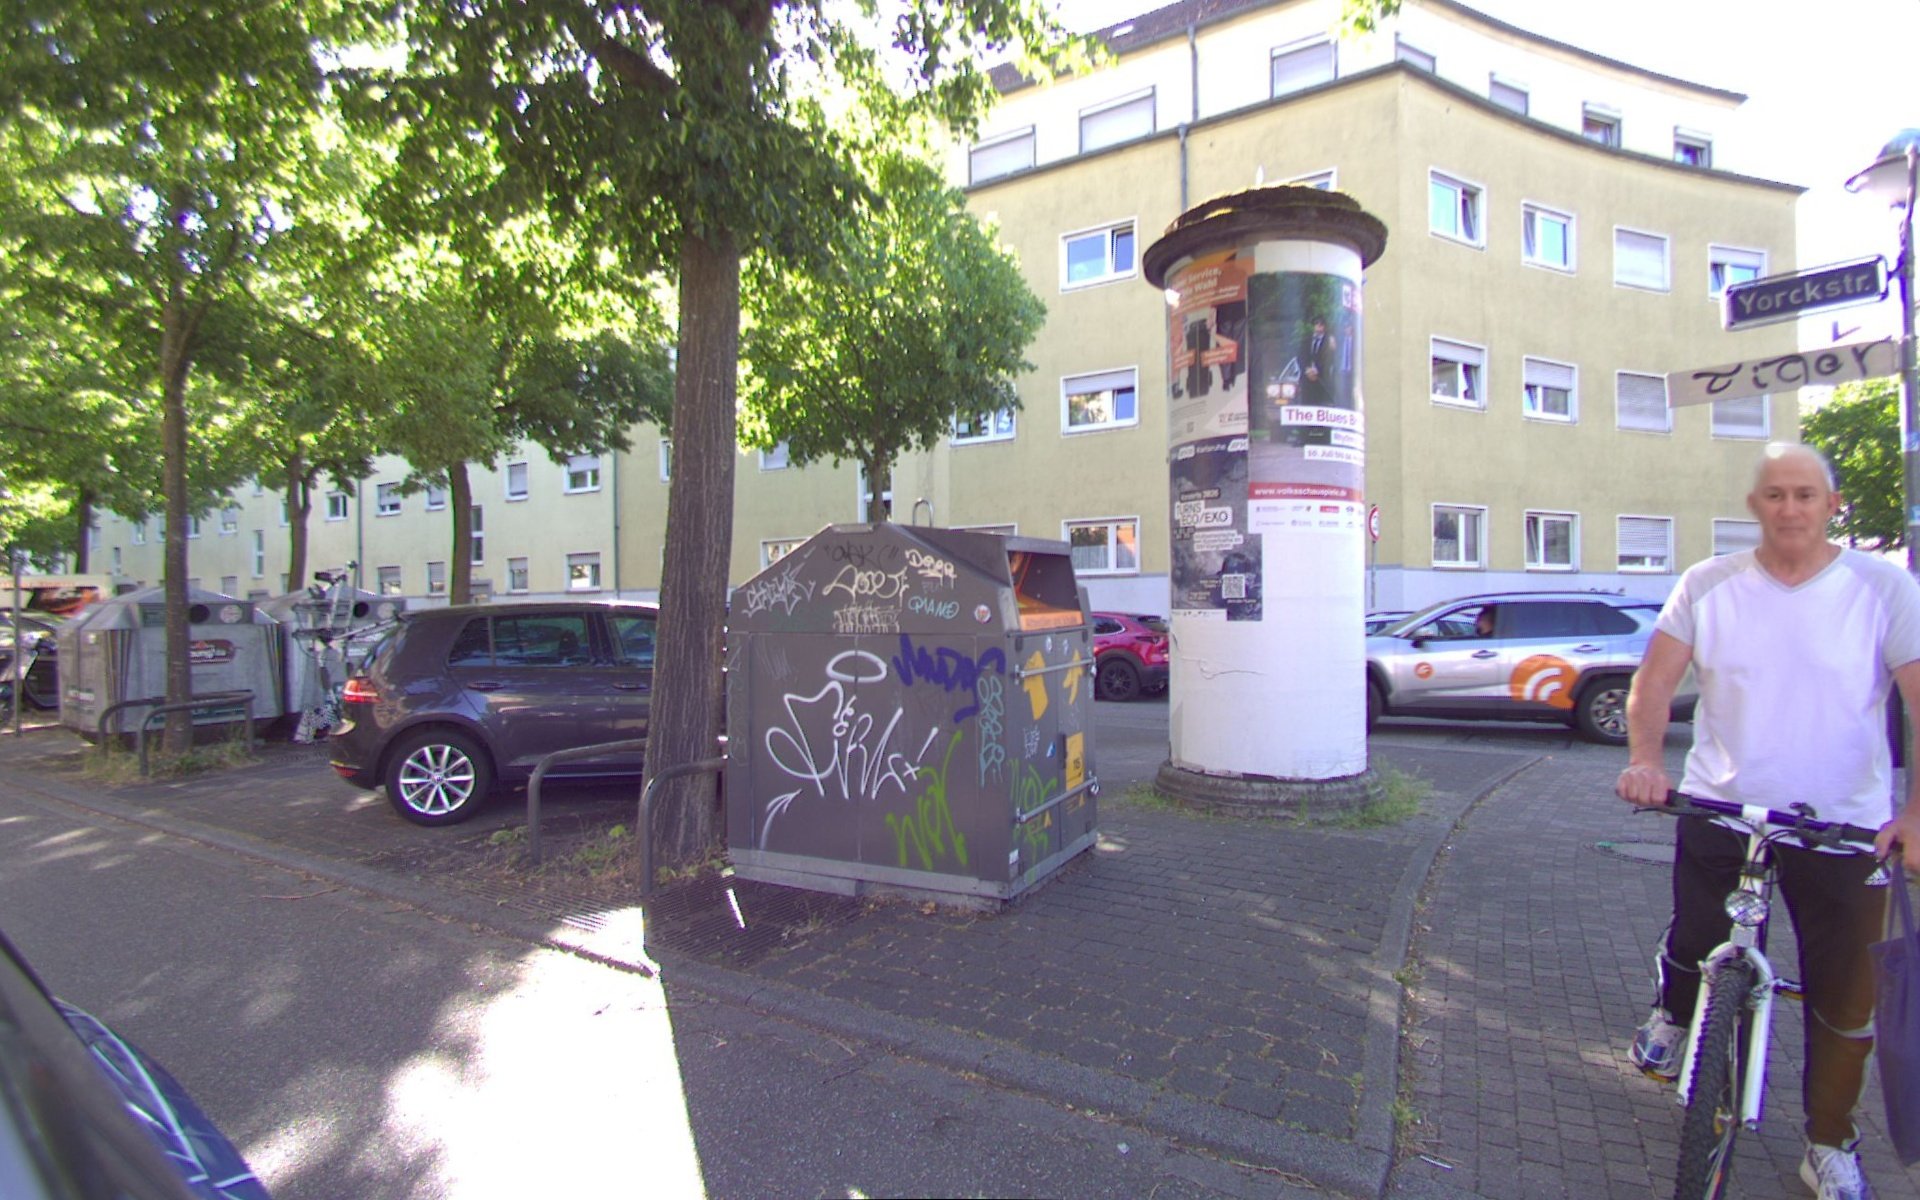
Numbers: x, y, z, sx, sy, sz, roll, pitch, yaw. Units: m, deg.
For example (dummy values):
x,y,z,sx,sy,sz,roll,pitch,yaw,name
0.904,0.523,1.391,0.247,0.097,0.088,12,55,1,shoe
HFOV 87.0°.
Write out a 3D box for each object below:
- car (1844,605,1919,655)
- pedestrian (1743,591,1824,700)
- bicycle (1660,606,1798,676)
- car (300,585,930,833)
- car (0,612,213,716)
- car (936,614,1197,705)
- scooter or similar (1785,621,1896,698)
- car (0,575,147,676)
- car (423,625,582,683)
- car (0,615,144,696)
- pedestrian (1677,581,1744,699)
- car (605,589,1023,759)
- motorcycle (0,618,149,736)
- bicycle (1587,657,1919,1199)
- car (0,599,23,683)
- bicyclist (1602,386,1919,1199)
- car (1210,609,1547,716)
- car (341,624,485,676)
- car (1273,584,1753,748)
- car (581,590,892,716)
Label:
x,y,z,sx,sy,sz,roll,pitch,yaw,name
28.300,0.858,29.336,1.779,1.422,3.999,-2,-1,0,car
12.082,0.654,14.873,0.690,1.535,0.647,-2,2,14,pedestrian
12.788,0.681,16.864,1.779,1.116,0.499,-1,-1,9,bicycle
-2.363,0.670,7.529,3.932,1.484,1.765,0,-1,-16,car
-13.834,0.932,15.126,3.931,1.452,1.829,0,-1,-18,car
1.846,1.006,18.163,4.375,1.450,1.715,-2,-1,34,car
12.904,0.860,14.870,0.890,1.030,0.914,-2,2,14,scooter or similar
-24.038,0.648,26.017,4.515,2.509,1.993,0,-1,-23,car
-12.658,1.454,27.919,4.375,1.450,2.020,-2,-1,34,car
-18.250,1.050,19.182,3.931,1.464,1.829,0,-1,-18,car
11.201,0.585,15.117,0.603,1.705,0.552,-2,2,14,pedestrian
-1.525,0.669,10.383,3.931,1.484,1.765,0,-1,-17,car
-11.269,0.912,12.569,0.721,1.358,1.791,-1,-1,15,motorcycle
2.150,0.791,2.513,0.764,1.207,1.845,-2,-1,39,bicycle
-23.818,0.947,22.533,3.931,1.913,1.829,0,-1,-18,car
2.003,0.445,2.334,0.764,1.709,0.801,-2,-1,39,bicyclist
6.270,0.886,15.373,4.477,1.422,1.713,-2,-1,34,car
-16.551,1.476,30.560,4.375,1.450,2.020,-2,-1,34,car
6.087,0.719,11.785,4.581,1.642,1.721,-1,-1,20,car
-2.956,0.665,14.014,1.759,1.484,3.945,-2,-2,41,car
